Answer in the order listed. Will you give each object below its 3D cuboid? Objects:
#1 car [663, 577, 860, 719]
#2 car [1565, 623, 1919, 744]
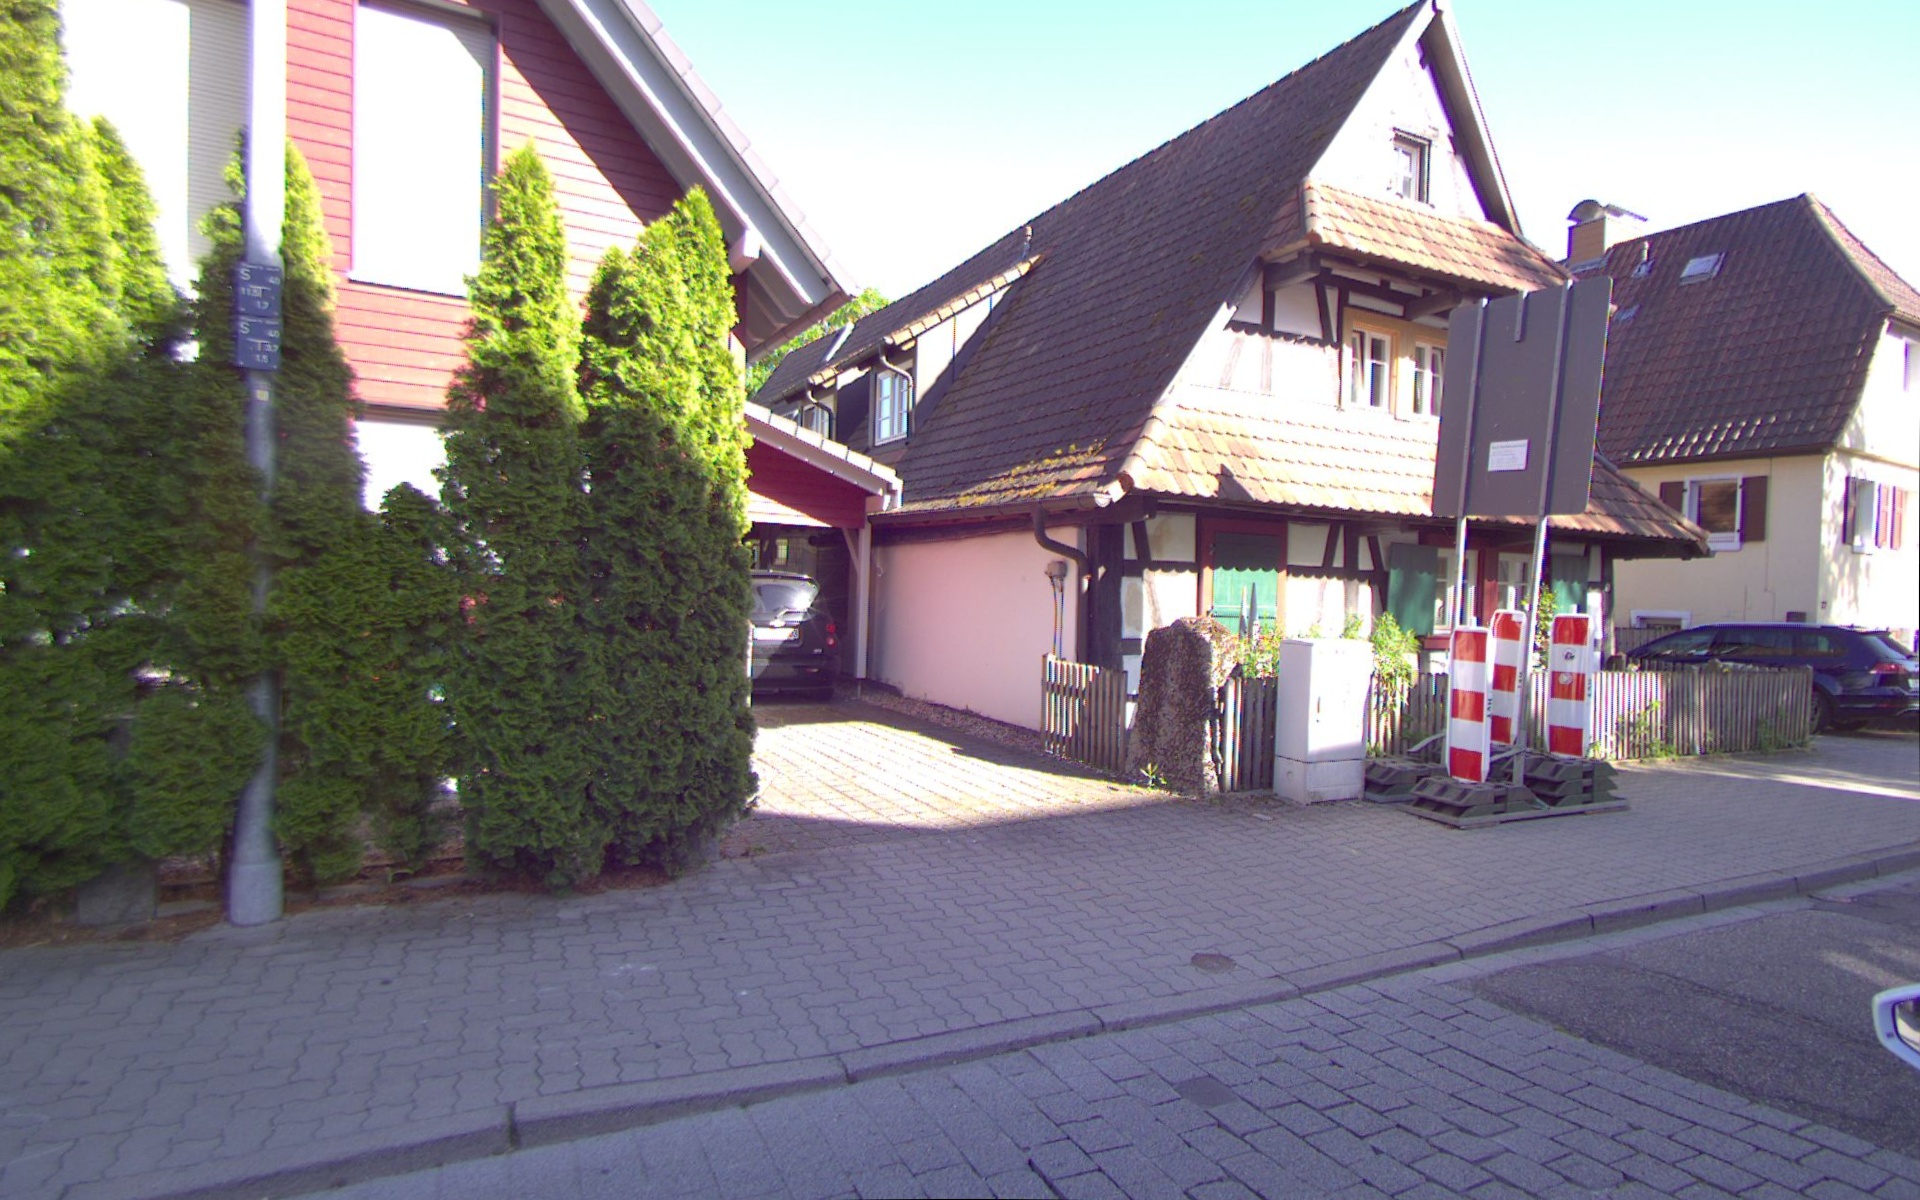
[{"bbox_3d":[-2.709,0.478,12.945,1.790,1.522,3.979,0,1,-22],"label":"car"},{"bbox_3d":[11.465,1.094,14.682,1.827,1.481,4.138,1,-1,-31],"label":"car"}]
